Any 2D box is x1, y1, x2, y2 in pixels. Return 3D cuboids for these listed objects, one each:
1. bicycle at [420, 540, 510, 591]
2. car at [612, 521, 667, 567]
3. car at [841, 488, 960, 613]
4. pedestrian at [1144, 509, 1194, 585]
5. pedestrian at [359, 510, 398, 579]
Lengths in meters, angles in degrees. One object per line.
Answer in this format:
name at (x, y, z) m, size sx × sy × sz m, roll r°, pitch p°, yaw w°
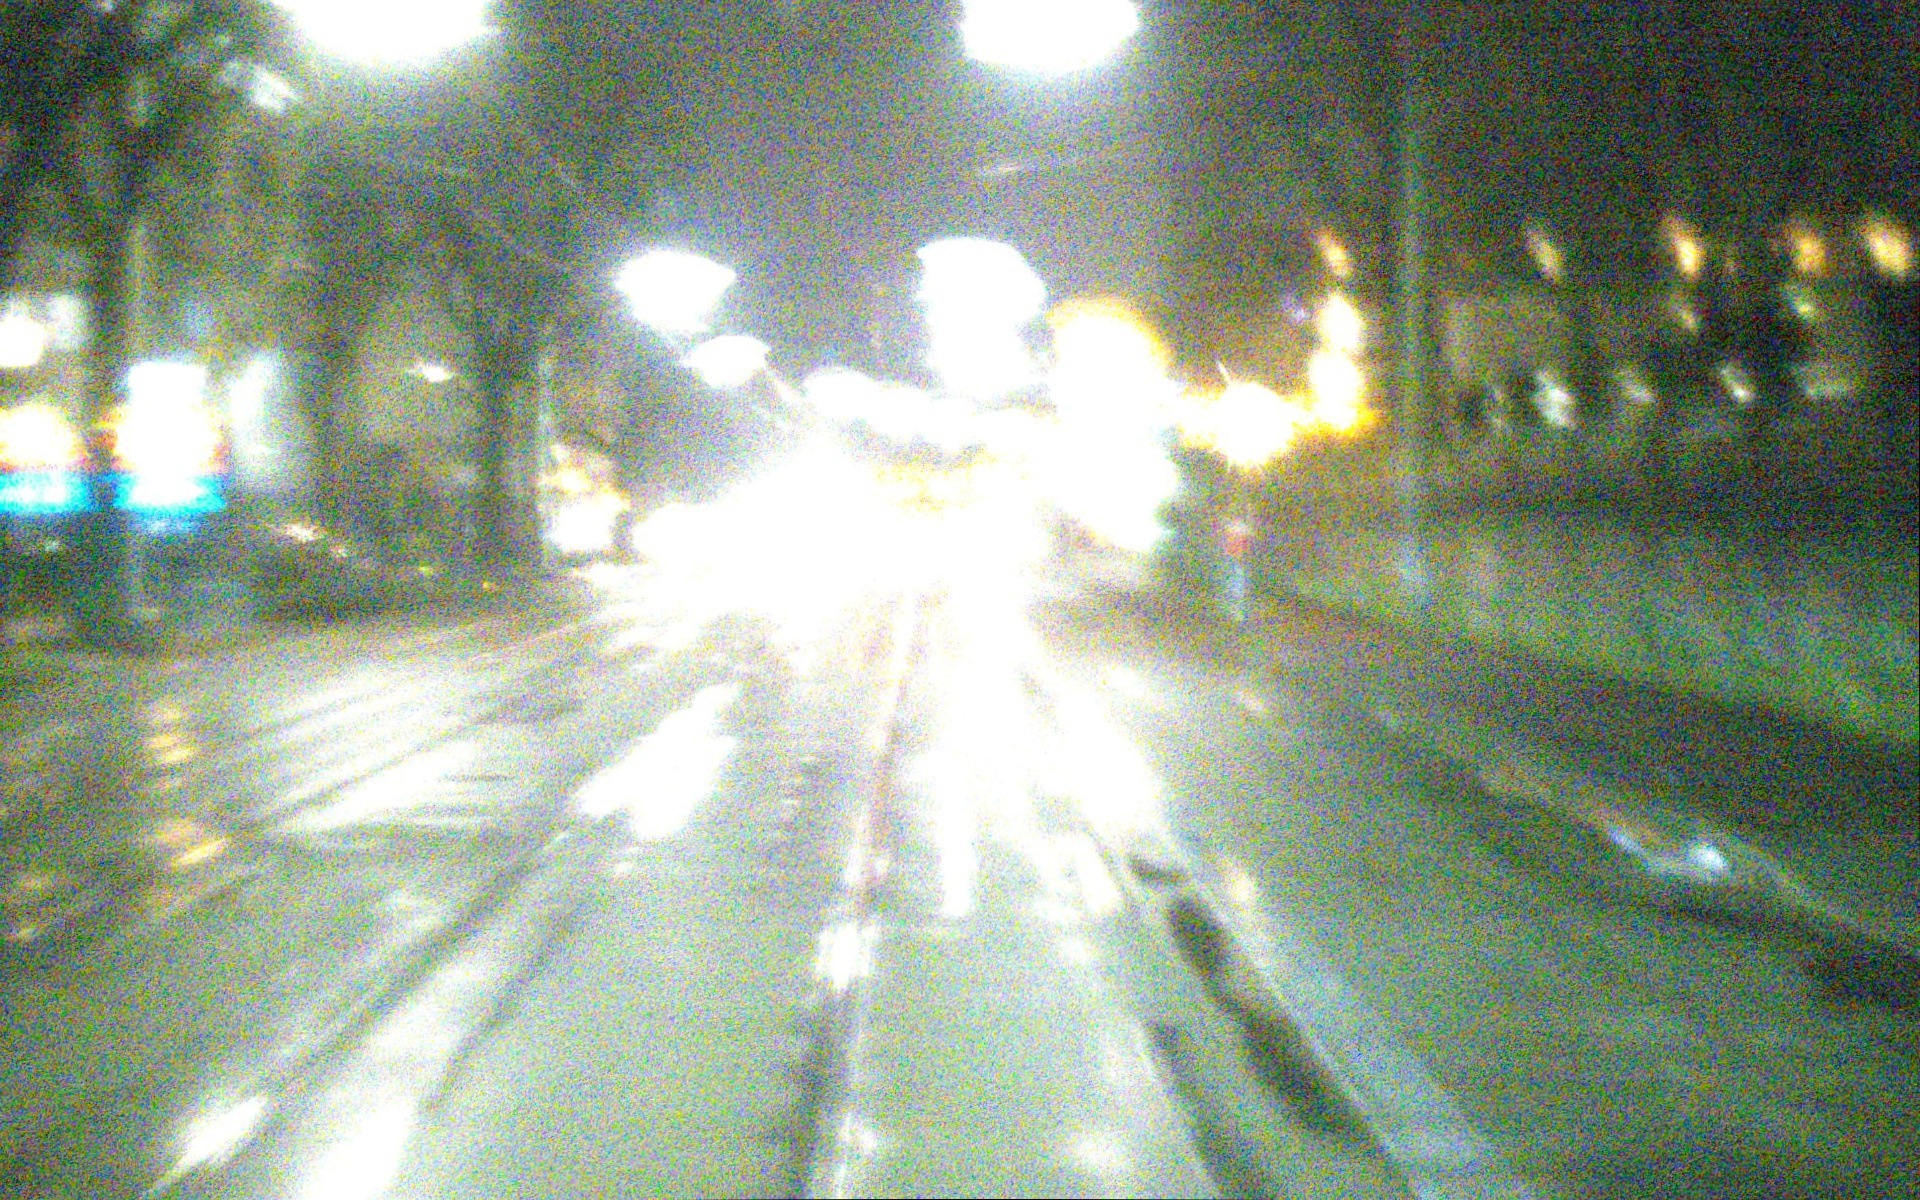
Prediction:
bicycle at (-10.684, -0.740, 74.284) m, size 1.853 × 1.074 × 0.628 m, roll 1°, pitch 1°, yaw 0°
car at (-14.144, -2.464, 151.905) m, size 1.993 × 2.007 × 4.000 m, roll 1°, pitch 1°, yaw 0°
car at (-1.198, -0.980, 67.557) m, size 2.244 × 2.353 × 4.394 m, roll 1°, pitch 1°, yaw -2°
pedestrian at (4.699, -1.201, 77.335) m, size 0.939 × 1.658 × 0.994 m, roll -2°, pitch 1°, yaw -5°
pedestrian at (-14.263, -1.353, 84.317) m, size 0.786 × 1.681 × 0.883 m, roll 1°, pitch 1°, yaw -1°
